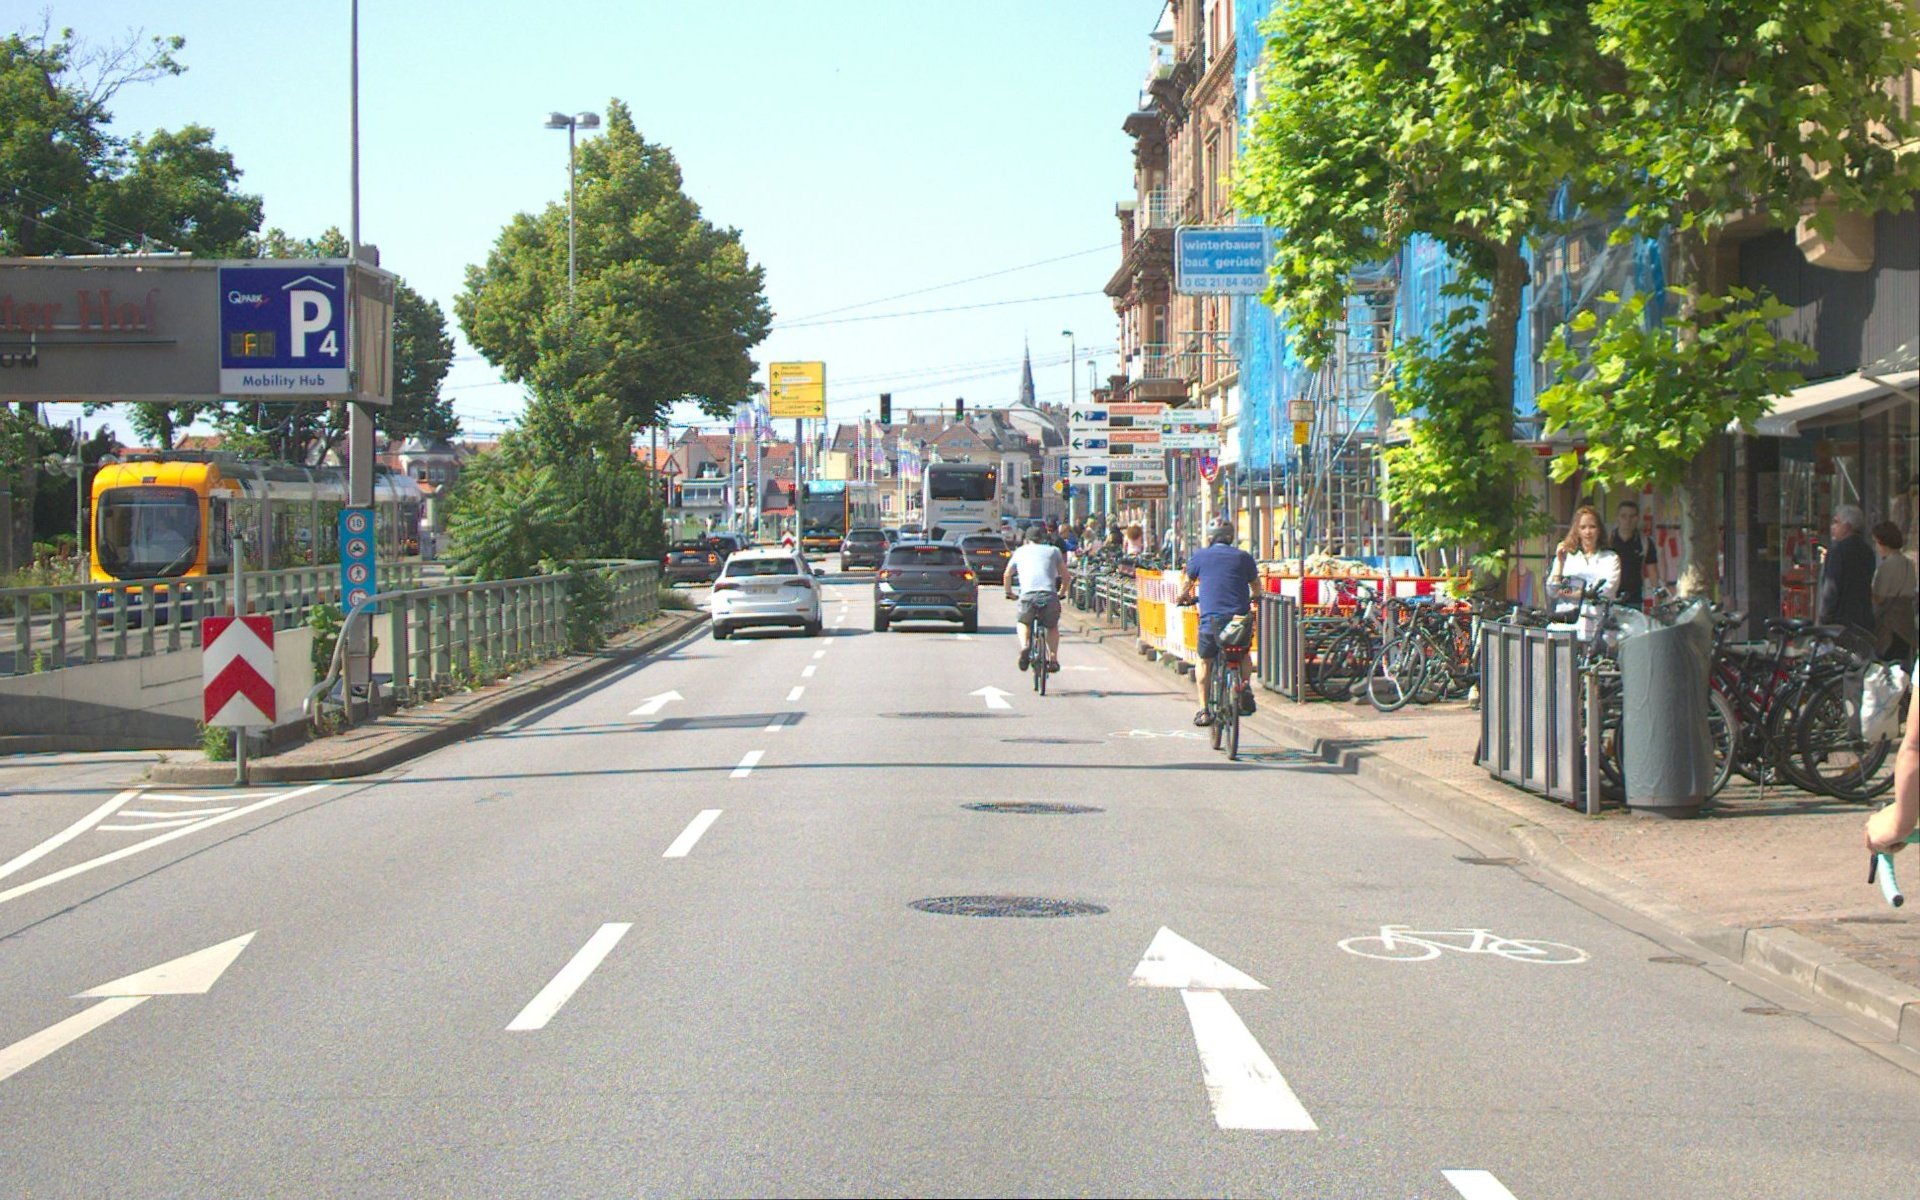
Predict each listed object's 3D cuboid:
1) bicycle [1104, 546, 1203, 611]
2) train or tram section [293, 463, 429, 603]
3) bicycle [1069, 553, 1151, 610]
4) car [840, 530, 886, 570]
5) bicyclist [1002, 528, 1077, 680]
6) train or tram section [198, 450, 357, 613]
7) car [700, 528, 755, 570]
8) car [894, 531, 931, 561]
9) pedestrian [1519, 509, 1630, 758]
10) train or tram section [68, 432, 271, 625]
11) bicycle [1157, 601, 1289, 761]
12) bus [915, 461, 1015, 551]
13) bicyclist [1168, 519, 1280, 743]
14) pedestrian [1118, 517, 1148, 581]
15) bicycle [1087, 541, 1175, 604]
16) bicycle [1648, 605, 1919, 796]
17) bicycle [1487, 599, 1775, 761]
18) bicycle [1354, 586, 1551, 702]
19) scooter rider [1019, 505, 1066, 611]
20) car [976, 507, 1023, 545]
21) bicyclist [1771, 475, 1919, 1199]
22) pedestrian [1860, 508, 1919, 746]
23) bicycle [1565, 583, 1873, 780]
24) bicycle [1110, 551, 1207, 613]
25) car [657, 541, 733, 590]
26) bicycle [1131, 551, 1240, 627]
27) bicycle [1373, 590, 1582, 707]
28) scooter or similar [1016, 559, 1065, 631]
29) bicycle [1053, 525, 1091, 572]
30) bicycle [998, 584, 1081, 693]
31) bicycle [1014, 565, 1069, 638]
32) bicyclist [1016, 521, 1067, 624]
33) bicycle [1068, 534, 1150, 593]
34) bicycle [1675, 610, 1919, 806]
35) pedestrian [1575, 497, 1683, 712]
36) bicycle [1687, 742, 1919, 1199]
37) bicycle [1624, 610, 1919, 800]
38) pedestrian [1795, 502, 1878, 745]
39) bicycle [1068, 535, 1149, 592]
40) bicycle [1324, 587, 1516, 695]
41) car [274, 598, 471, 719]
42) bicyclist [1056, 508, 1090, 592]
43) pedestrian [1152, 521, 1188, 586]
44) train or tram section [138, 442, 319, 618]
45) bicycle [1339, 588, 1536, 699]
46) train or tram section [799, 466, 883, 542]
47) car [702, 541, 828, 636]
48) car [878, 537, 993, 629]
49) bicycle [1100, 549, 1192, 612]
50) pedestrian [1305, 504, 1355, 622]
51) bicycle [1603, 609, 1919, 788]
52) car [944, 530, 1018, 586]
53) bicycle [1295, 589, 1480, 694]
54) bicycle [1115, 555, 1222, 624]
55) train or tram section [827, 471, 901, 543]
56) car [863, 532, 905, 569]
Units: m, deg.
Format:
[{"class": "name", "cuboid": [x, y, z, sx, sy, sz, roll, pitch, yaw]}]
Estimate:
[{"class": "bicycle", "cuboid": [3.571, -0.393, 63.421, 1.771, 1.174, 0.608, 1, 1, 0]}, {"class": "train or tram section", "cuboid": [-15.979, -1.776, 92.076, 2.613, 3.569, 6.018, 1, 1, -1]}, {"class": "bicycle", "cuboid": [3.167, -0.393, 72.700, 1.693, 1.174, 0.608, -1, 1, 0]}, {"class": "car", "cuboid": [-3.282, -1.691, 116.969, 1.451, 1.296, 3.342, 1, 1, 0]}, {"class": "bicyclist", "cuboid": [0.835, 0.032, 36.368, 0.688, 1.571, 1.049, 1, 1, -2]}, {"class": "train or tram section", "cuboid": [-15.724, -1.577, 79.517, 2.613, 3.569, 5.357, 1, 1, -1]}, {"class": "car", "cuboid": [-7.415, -1.633, 109.797, 1.451, 1.296, 4.000, 1, 1, 0]}, {"class": "car", "cuboid": [-2.109, -2.403, 153.015, 1.451, 1.296, 3.342, 1, 1, 2]}, {"class": "pedestrian", "cuboid": [4.202, 0.226, 23.555, 0.656, 1.677, 0.653, 0, 0, 3]}, {"class": "train or tram section", "cuboid": [-15.486, -1.390, 67.732, 2.613, 3.569, 6.104, 1, 1, -1]}, {"class": "bicycle", "cuboid": [1.928, 0.579, 25.402, 0.734, 1.089, 1.911, 1, 1, -2]}, {"class": "bus", "cuboid": [0.097, -3.041, 113.193, 2.969, 2.767, 8.642, 1, 1, -2]}, {"class": "bicyclist", "cuboid": [1.946, 0.220, 25.407, 0.688, 1.610, 0.918, 1, 1, -2]}, {"class": "pedestrian", "cuboid": [4.448, -1.319, 88.459, 0.654, 1.615, 0.815, -1, 2, -2]}, {"class": "bicycle", "cuboid": [3.375, -0.545, 67.840, 1.693, 1.236, 0.608, 1, 1, 0]}, {"class": "bicycle", "cuboid": [4.686, 0.541, 18.794, 1.752, 1.014, 0.483, 0, 1, -2]}, {"class": "bicycle", "cuboid": [4.379, 0.508, 22.448, 1.754, 1.014, 0.657, 0, 1, 22]}, {"class": "bicycle", "cuboid": [4.443, 0.384, 31.009, 1.752, 1.014, 0.483, 0, 1, -21]}, {"class": "scooter rider", "cuboid": [1.369, -0.696, 57.125, 0.688, 1.723, 0.778, 1, 1, -3]}, {"class": "car", "cuboid": [2.002, -3.715, 172.979, 1.994, 1.871, 3.999, -1, 1, 6]}, {"class": "bicyclist", "cuboid": [2.131, 0.496, 6.838, 0.688, 1.458, 1.143, 1, 1, -2]}, {"class": "pedestrian", "cuboid": [6.657, 0.190, 24.494, 0.381, 1.677, 0.476, -1, 0, 22]}, {"class": "bicycle", "cuboid": [4.648, 0.491, 21.096, 1.752, 1.177, 0.579, 0, 1, -2]}, {"class": "bicycle", "cuboid": [3.570, -0.328, 61.911, 1.693, 1.083, 0.608, 1, 1, 0]}, {"class": "car", "cuboid": [-7.585, -1.005, 98.616, 1.815, 1.327, 4.000, 1, 1, 0]}, {"class": "bicycle", "cuboid": [3.597, -0.180, 54.912, 1.693, 1.174, 0.608, 1, 1, 0]}, {"class": "bicycle", "cuboid": [4.529, 0.421, 30.140, 1.752, 1.014, 0.483, 0, 1, -2]}, {"class": "scooter or similar", "cuboid": [1.337, -0.094, 57.096, 0.688, 1.163, 1.464, 1, 1, -3]}, {"class": "bicycle", "cuboid": [2.671, -1.224, 81.889, 0.734, 1.089, 1.898, 1, 1, -2]}, {"class": "bicycle", "cuboid": [0.829, 0.391, 36.339, 0.734, 1.089, 1.898, 1, 1, -2]}, {"class": "bicycle", "cuboid": [1.257, 0.017, 53.312, 0.734, 1.089, 1.898, 1, 1, -1]}, {"class": "bicyclist", "cuboid": [1.265, -0.432, 53.363, 0.688, 1.571, 1.049, 1, 1, -2]}, {"class": "bicycle", "cuboid": [3.180, -0.778, 73.451, 1.693, 1.174, 0.608, -3, 2, 0]}, {"class": "bicycle", "cuboid": [4.725, 0.564, 18.247, 1.752, 1.014, 0.483, 0, 1, -2]}, {"class": "pedestrian", "cuboid": [5.886, 0.038, 30.275, 0.814, 1.842, 0.891, -2, 0, 7]}, {"class": "bicycle", "cuboid": [2.095, 0.898, 6.872, 0.734, 1.089, 2.131, 1, 1, -2]}, {"class": "bicycle", "cuboid": [4.690, 0.584, 19.407, 1.752, 1.014, 0.587, -1, 1, -2]}, {"class": "pedestrian", "cuboid": [6.172, 0.160, 24.195, 0.498, 1.677, 0.537, -2, 0, 16]}, {"class": "bicycle", "cuboid": [3.191, -0.791, 74.083, 1.693, 1.174, 0.608, -1, 2, 0]}, {"class": "bicycle", "cuboid": [4.357, 0.384, 32.604, 1.752, 1.014, 0.483, 0, 1, -2]}, {"class": "car", "cuboid": [-8.056, 0.773, 47.488, 1.993, 1.503, 4.000, 1, 1, 0]}, {"class": "bicyclist", "cuboid": [2.681, -1.190, 81.779, 0.688, 1.955, 0.778, 1, 1, -3]}, {"class": "pedestrian", "cuboid": [5.463, -1.212, 89.586, 0.755, 1.650, 0.837, -4, 0, -1]}, {"class": "train or tram section", "cuboid": [-15.618, -1.486, 73.817, 2.613, 3.569, 6.104, 1, 1, -1]}, {"class": "bicycle", "cuboid": [4.437, 0.401, 32.003, 1.752, 1.014, 0.483, 0, 1, -2]}, {"class": "train or tram section", "cuboid": [-5.820, -4.680, 169.656, 2.823, 3.569, 10.031, 2, 1, 5]}, {"class": "car", "cuboid": [-3.254, -0.211, 57.996, 1.858, 1.502, 4.000, 1, 1, 0]}, {"class": "car", "cuboid": [-0.404, -0.308, 59.372, 1.873, 1.487, 4.000, 1, 1, 0]}, {"class": "bicycle", "cuboid": [3.512, -0.373, 65.006, 1.693, 1.174, 0.608, 1, 1, 0]}, {"class": "pedestrian", "cuboid": [5.610, -0.563, 52.117, 0.639, 1.770, 0.649, 1, 1, -1]}, {"class": "bicycle", "cuboid": [4.680, 0.569, 20.046, 1.752, 1.014, 0.557, 0, 1, -2]}, {"class": "car", "cuboid": [0.589, -1.176, 96.614, 1.993, 1.487, 4.000, 1, 1, 0]}, {"class": "bicycle", "cuboid": [4.207, 0.406, 33.880, 1.752, 1.014, 0.483, 0, 1, -2]}, {"class": "bicycle", "cuboid": [3.410, -0.175, 56.338, 1.693, 1.094, 0.608, 1, 1, 0]}, {"class": "train or tram section", "cuboid": [-4.928, -4.798, 178.707, 2.823, 3.569, 8.225, 2, 1, 5]}, {"class": "car", "cuboid": [-2.769, -1.813, 125.816, 1.451, 1.296, 3.342, 1, 1, 0]}]
